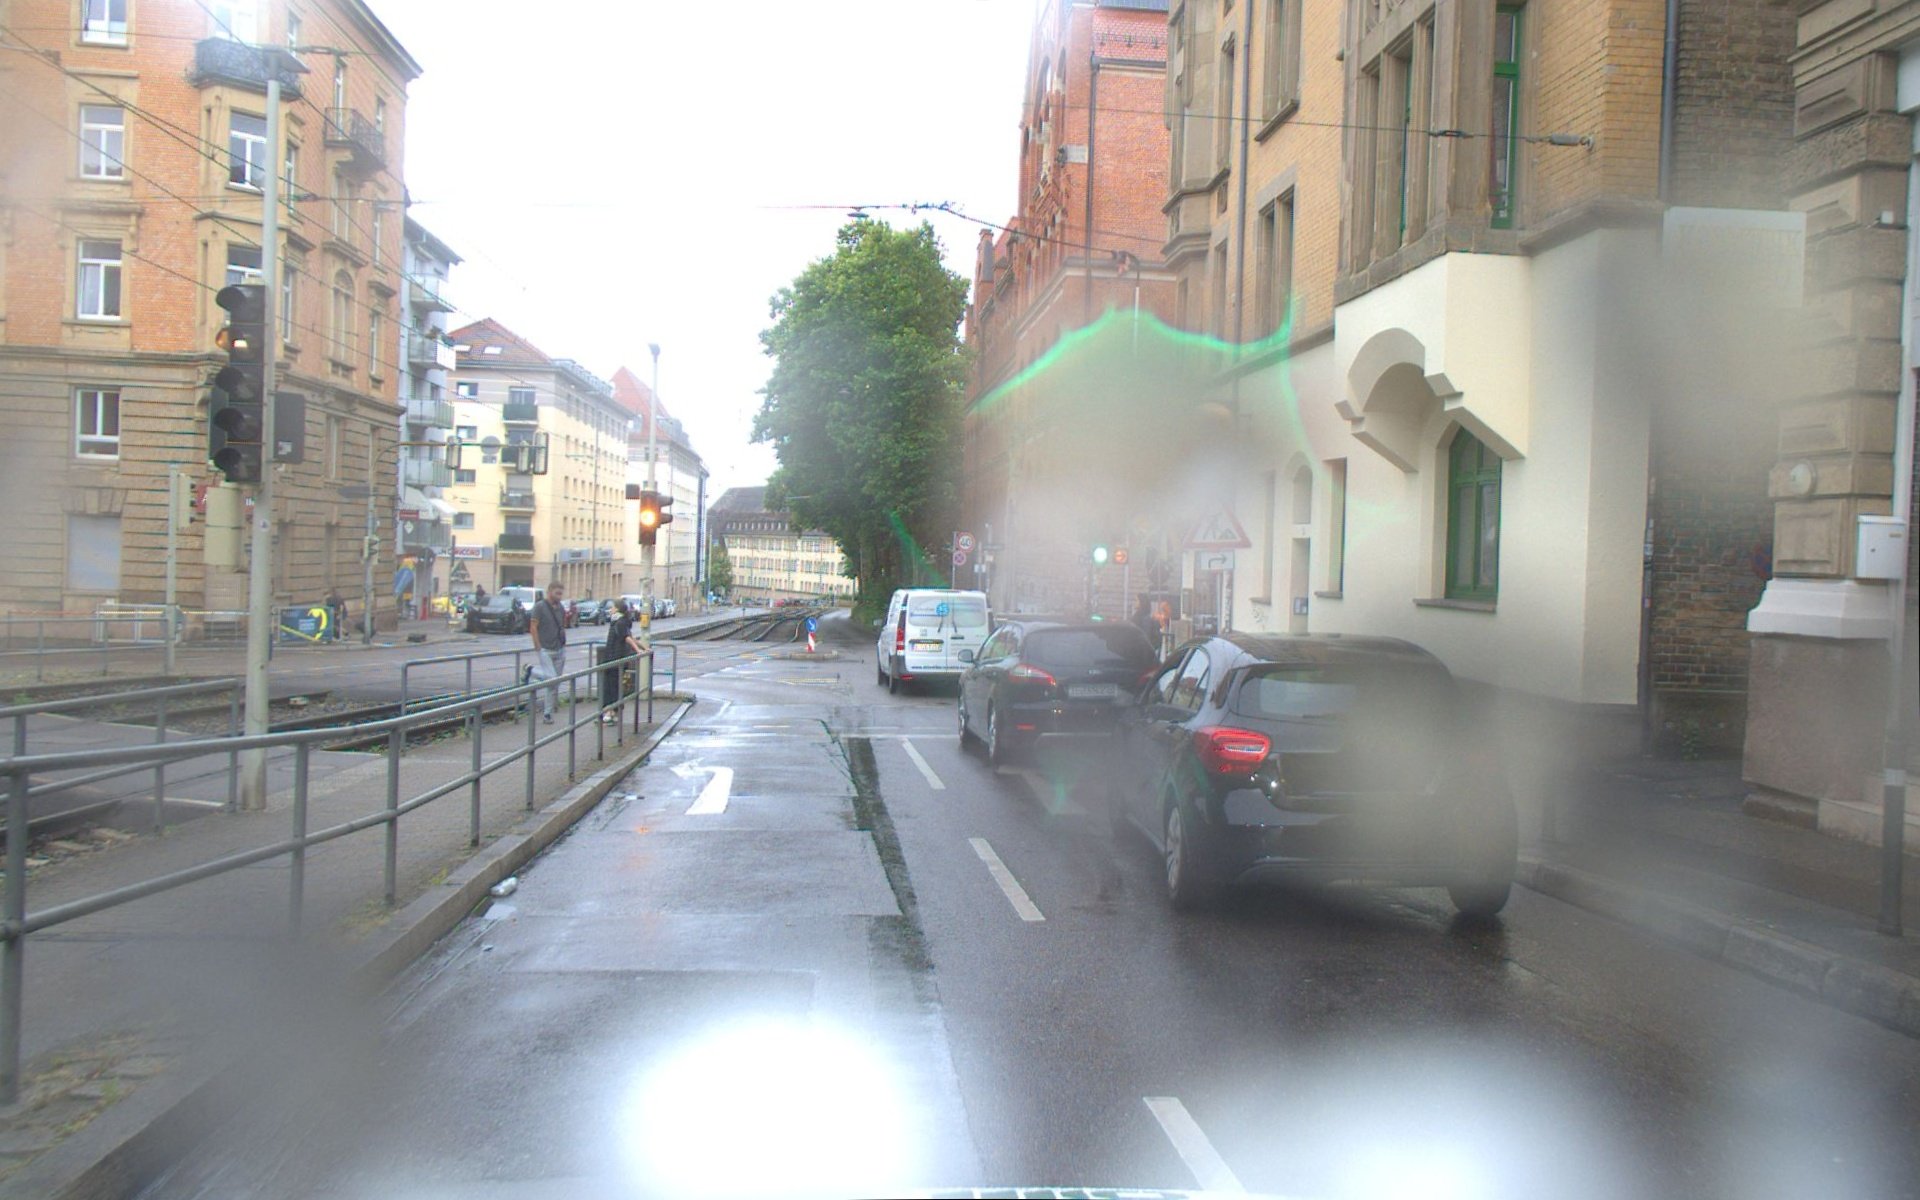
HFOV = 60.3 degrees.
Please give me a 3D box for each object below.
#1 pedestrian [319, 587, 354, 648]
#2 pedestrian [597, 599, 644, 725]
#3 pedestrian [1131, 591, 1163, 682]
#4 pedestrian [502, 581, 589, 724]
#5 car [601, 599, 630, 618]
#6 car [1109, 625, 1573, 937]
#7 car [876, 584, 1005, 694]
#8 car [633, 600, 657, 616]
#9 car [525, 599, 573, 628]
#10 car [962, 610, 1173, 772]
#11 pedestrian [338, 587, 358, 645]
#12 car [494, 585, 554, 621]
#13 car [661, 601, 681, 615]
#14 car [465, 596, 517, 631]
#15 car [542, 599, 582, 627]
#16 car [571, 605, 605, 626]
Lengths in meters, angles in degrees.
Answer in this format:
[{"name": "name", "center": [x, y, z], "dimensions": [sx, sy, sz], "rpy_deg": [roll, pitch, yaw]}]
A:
[{"name": "pedestrian", "center": [-17.443, 0.495, 46.292], "dimensions": [0.664, 1.690, 0.676], "rpy_deg": [1, -1, 2]}, {"name": "pedestrian", "center": [-4.266, 0.771, 20.789], "dimensions": [0.522, 1.557, 0.435], "rpy_deg": [2, -1, -12]}, {"name": "pedestrian", "center": [2.707, 0.525, 23.983], "dimensions": [0.404, 1.293, 0.292], "rpy_deg": [2, -1, 1]}, {"name": "pedestrian", "center": [-5.216, 0.649, 20.806], "dimensions": [0.728, 1.754, 0.736], "rpy_deg": [1, -1, 42]}, {"name": "car", "center": [-22.342, 0.564, 107.413], "dimensions": [1.367, 1.191, 3.159], "rpy_deg": [2, 0, -4]}, {"name": "car", "center": [2.006, 0.896, 9.920], "dimensions": [1.856, 1.414, 4.000], "rpy_deg": [1, 0, 0]}, {"name": "car", "center": [-0.438, 0.678, 30.754], "dimensions": [1.896, 1.863, 4.274], "rpy_deg": [2, 0, -7]}, {"name": "car", "center": [-23.766, 0.603, 124.836], "dimensions": [1.367, 1.191, 3.159], "rpy_deg": [2, 0, -4]}, {"name": "car", "center": [-20.169, 0.653, 81.250], "dimensions": [1.647, 1.380, 3.700], "rpy_deg": [2, 0, -4]}, {"name": "car", "center": [1.025, 0.882, 17.844], "dimensions": [1.679, 1.495, 4.277], "rpy_deg": [2, 0, -4]}, {"name": "pedestrian", "center": [-18.000, 0.469, 48.652], "dimensions": [0.510, 1.695, 0.474], "rpy_deg": [1, -1, -20]}, {"name": "car", "center": [-19.662, 0.143, 74.781], "dimensions": [1.751, 1.557, 4.458], "rpy_deg": [2, 0, -4]}, {"name": "car", "center": [-25.646, 0.690, 146.672], "dimensions": [1.367, 1.191, 3.159], "rpy_deg": [2, 0, -4]}, {"name": "car", "center": [-19.369, 0.533, 68.473], "dimensions": [1.424, 1.341, 3.291], "rpy_deg": [3, 0, -5]}, {"name": "car", "center": [-20.592, 0.665, 85.624], "dimensions": [1.470, 1.380, 3.159], "rpy_deg": [2, 0, -4]}, {"name": "car", "center": [-21.155, 0.876, 94.094], "dimensions": [1.408, 1.126, 3.159], "rpy_deg": [2, 0, -4]}]
